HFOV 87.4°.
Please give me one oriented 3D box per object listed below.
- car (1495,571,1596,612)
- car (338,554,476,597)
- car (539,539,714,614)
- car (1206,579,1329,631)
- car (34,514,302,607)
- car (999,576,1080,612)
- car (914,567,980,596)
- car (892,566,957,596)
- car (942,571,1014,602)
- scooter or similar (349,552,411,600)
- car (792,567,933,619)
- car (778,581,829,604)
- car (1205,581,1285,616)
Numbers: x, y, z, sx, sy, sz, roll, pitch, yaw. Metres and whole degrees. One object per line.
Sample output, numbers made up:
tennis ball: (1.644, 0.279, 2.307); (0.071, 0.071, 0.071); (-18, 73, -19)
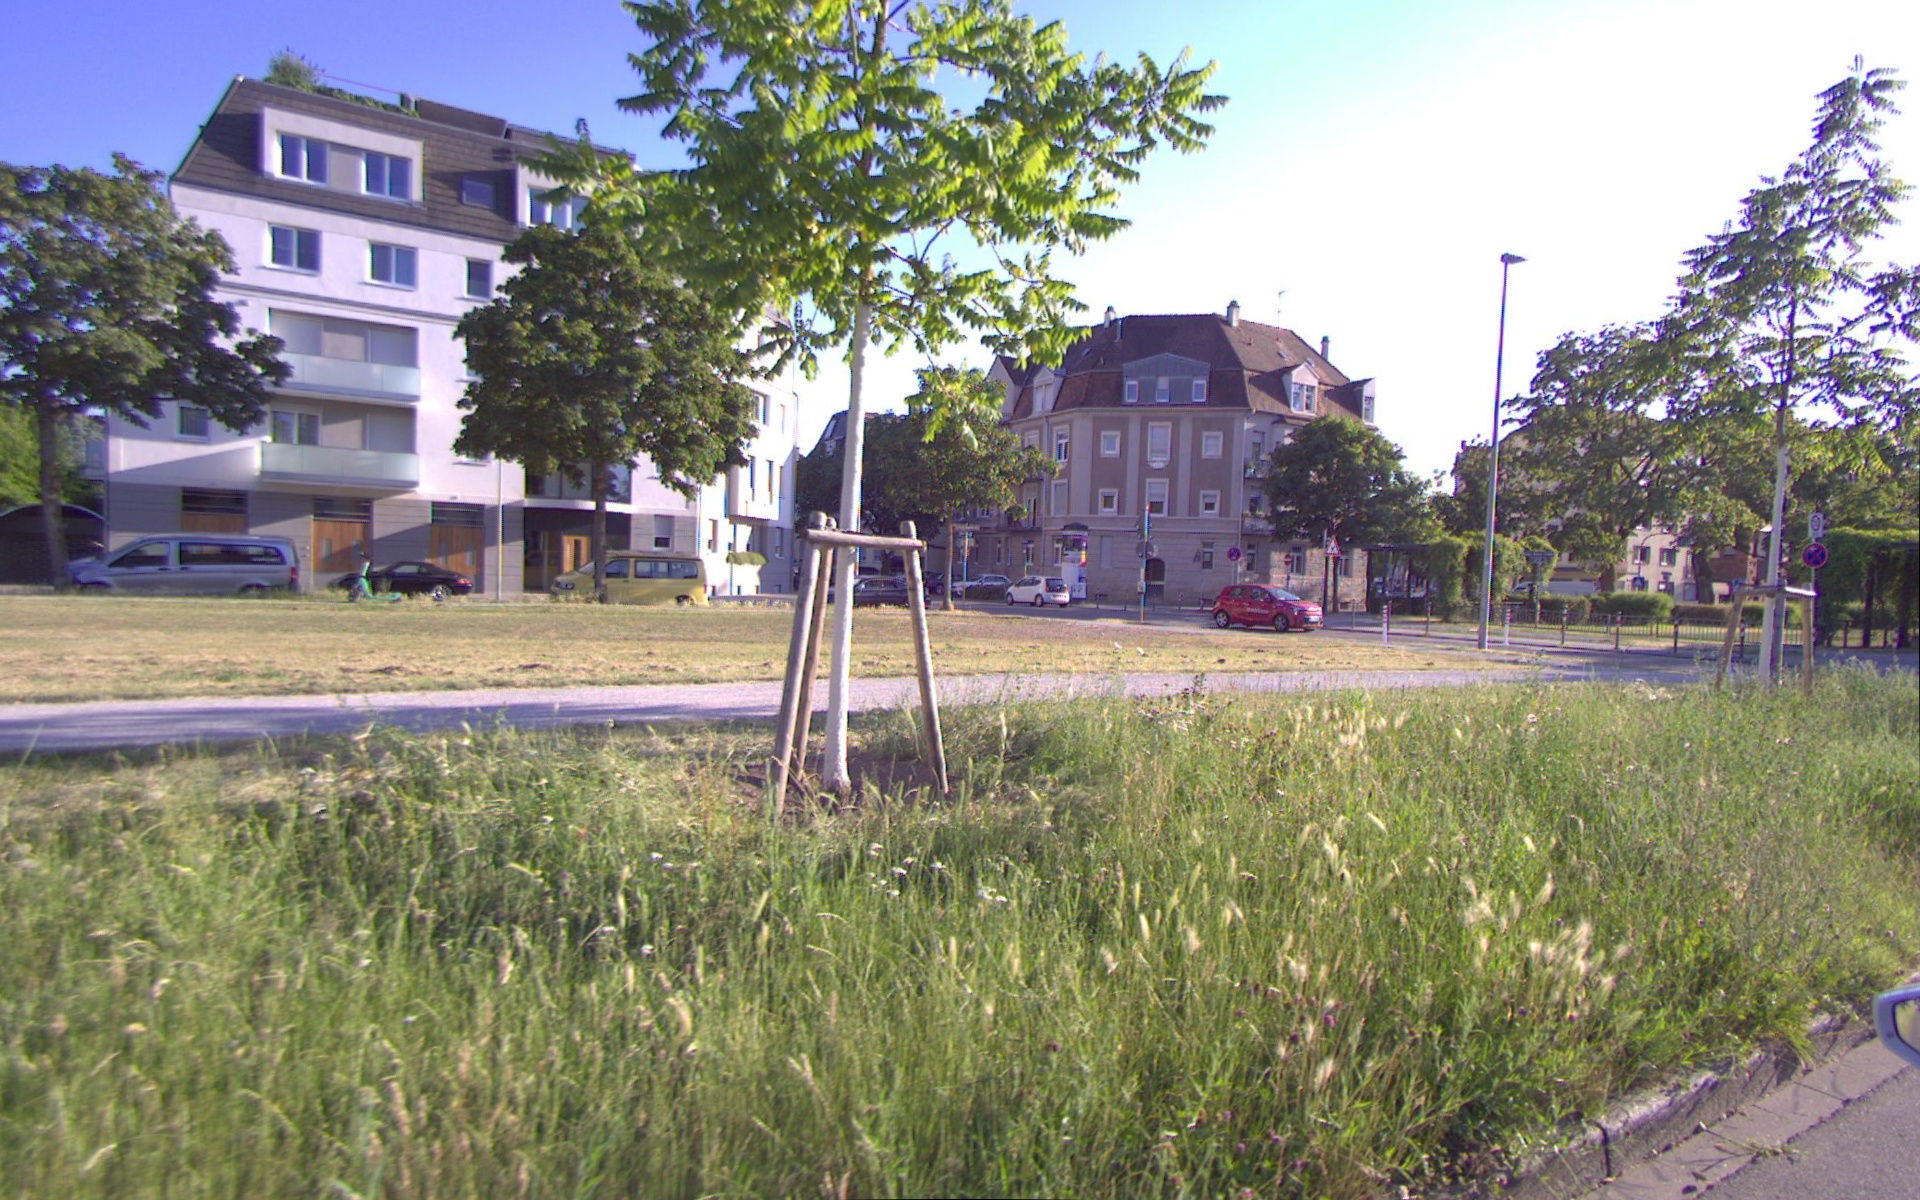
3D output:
car: (42.871, -0.676, 73.714); (6.202, 2.757, 1.999); (3, 2, 30)
car: (-18.818, -0.823, 34.369); (4.012, 1.295, 1.985); (1, 2, -28)
car: (-10.630, -0.679, 32.146); (4.993, 2.084, 1.984); (2, -2, -30)
car: (10.020, 0.111, 32.899); (1.668, 1.501, 3.560); (-1, 4, -35)
car: (-20.538, -0.931, 26.441); (5.316, 2.027, 2.006); (2, -2, -34)
car: (3.807, -0.250, 48.715); (1.978, 1.617, 3.872); (2, -2, -32)
car: (-0.806, -1.179, 64.576); (3.921, 1.739, 1.591); (1, 2, -29)
car: (-2.348, -1.230, 66.601); (4.030, 1.696, 1.688); (2, -2, -31)
car: (1.086, -0.769, 60.330); (4.027, 1.658, 1.689); (2, -2, -29)
scooter or similar: (-14.387, -0.595, 24.940); (1.286, 1.142, 0.389); (1, 3, -38)
car: (-3.544, -0.206, 36.695); (4.769, 1.658, 1.975); (2, -2, -29)
car: (-9.312, -0.473, 59.699); (1.674, 1.235, 3.968); (1, 1, -30)
car: (15.413, -0.046, 54.273); (4.242, 1.729, 1.636); (2, -2, -29)
